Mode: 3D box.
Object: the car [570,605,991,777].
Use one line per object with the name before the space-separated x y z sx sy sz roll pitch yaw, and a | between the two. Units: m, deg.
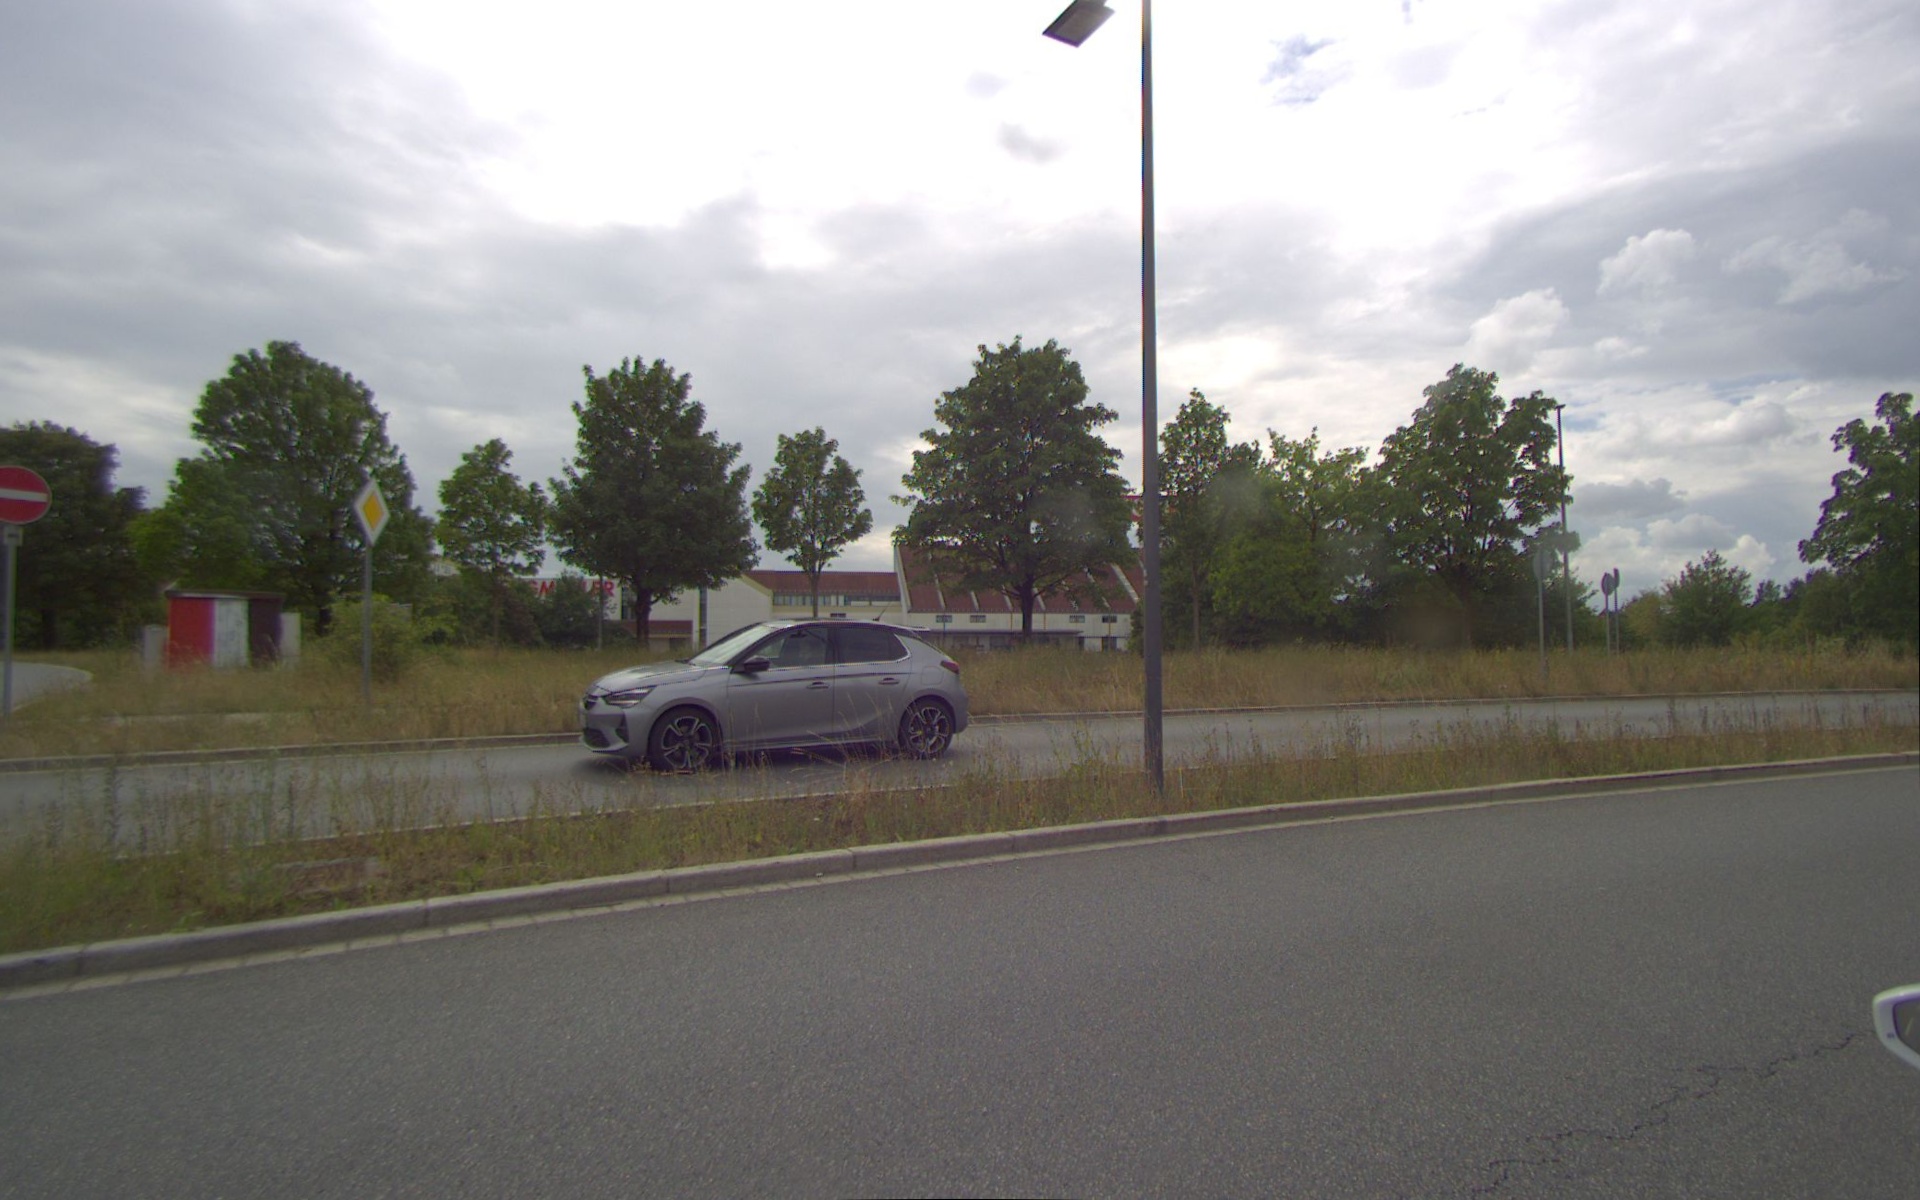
car | -1.792 0.875 10.413 4.045 1.505 1.453 2 -2 -29
